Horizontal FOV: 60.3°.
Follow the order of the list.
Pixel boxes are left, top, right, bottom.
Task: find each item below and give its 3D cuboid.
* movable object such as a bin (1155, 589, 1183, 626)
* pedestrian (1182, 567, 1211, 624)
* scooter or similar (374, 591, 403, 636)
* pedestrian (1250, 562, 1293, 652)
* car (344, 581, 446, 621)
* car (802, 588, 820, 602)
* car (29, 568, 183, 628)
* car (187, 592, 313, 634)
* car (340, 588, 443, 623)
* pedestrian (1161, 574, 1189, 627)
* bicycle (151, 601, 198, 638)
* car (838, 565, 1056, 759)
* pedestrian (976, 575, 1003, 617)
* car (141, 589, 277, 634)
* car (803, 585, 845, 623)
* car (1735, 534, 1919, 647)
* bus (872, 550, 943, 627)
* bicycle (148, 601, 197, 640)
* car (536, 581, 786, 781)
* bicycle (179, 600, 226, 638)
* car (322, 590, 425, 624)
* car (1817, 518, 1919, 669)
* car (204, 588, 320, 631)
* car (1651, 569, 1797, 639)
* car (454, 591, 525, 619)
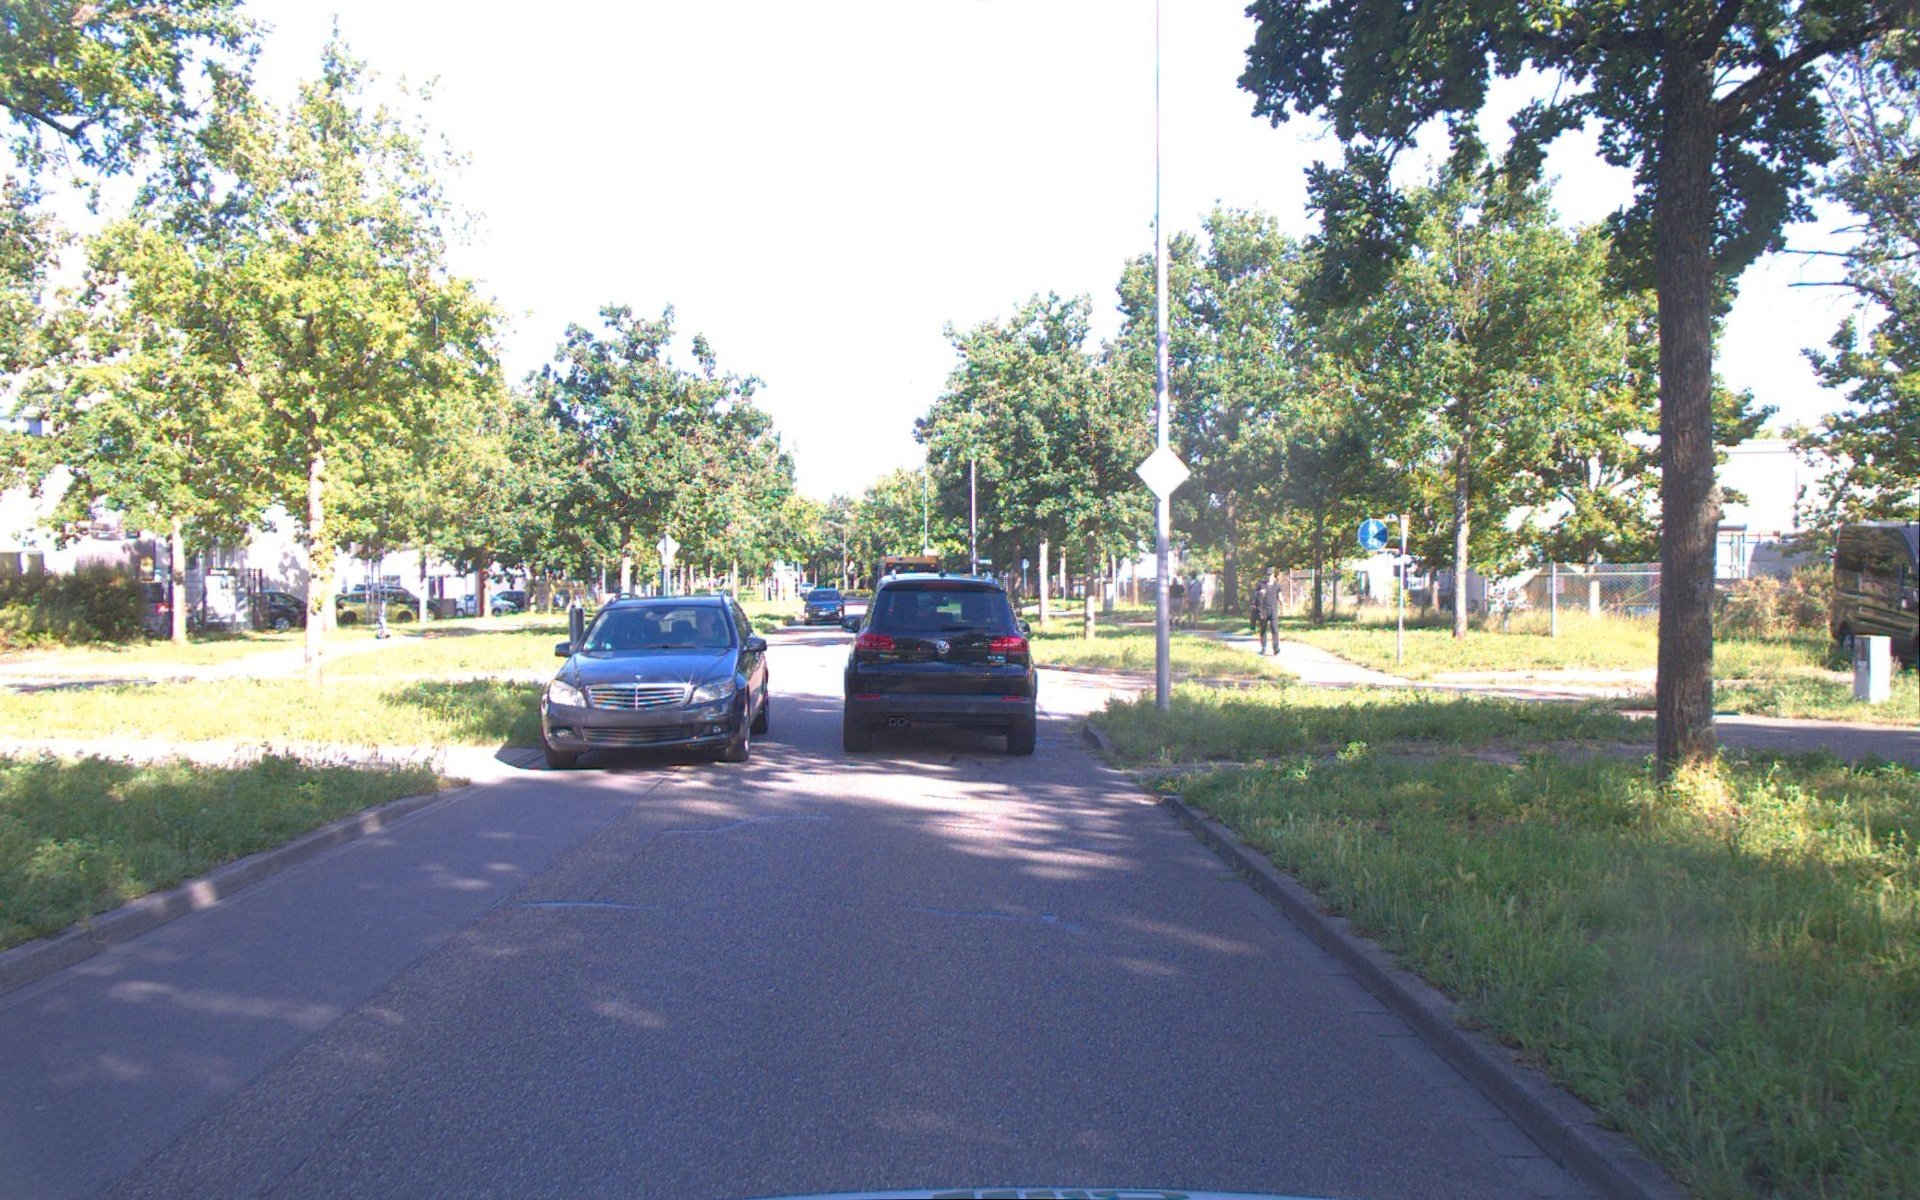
[{"bbox_3d":[6.605,0.233,52.291,0.711,1.100,0.867,-2,0,-3],"label":"movable object such as a bin"},{"bbox_3d":[7.541,-0.151,52.701,0.711,1.785,0.867,-2,0,-3],"label":"pedestrian"},{"bbox_3d":[-16.881,0.376,48.876,0.387,1.301,1.440,-1,0,-2],"label":"scooter or similar"},{"bbox_3d":[6.576,0.145,34.906,0.711,1.843,0.867,-1,3,-3],"label":"pedestrian"},{"bbox_3d":[-30.135,0.018,88.297,4.823,2.049,1.967,-1,1,-45],"label":"car"},{"bbox_3d":[-16.786,-0.534,186.479,1.709,1.490,4.425,-1,1,-3],"label":"car"},{"bbox_3d":[-27.415,-0.087,53.157,3.931,1.814,2.027,1,1,8],"label":"car"},{"bbox_3d":[-26.419,0.468,61.604,1.771,1.474,3.972,0,1,44],"label":"car"},{"bbox_3d":[-26.464,0.228,77.040,4.139,1.565,1.865,-1,1,-45],"label":"car"},{"bbox_3d":[6.683,0.000,51.443,0.711,1.631,0.867,-1,0,-3],"label":"pedestrian"},{"bbox_3d":[-24.211,0.590,50.992,0.626,1.106,1.890,-1,1,-3],"label":"bicycle"},{"bbox_3d":[-0.215,0.514,16.772,1.897,1.685,4.425,1,1,-3],"label":"car"},{"bbox_3d":[1.198,-0.155,67.683,0.999,1.680,1.099,-1,0,-3],"label":"pedestrian"},{"bbox_3d":[-26.286,0.391,57.964,1.767,1.474,3.980,0,1,39],"label":"car"},{"bbox_3d":[-6.072,0.155,74.250,1.769,1.563,4.492,-2,1,-4],"label":"car"},{"bbox_3d":[21.971,-0.261,42.037,2.117,2.689,4.849,-1,1,-2],"label":"car"},{"bbox_3d":[-2.704,-0.612,81.798,2.711,3.517,11.197,-1,1,-6],"label":"bus"},{"bbox_3d":[-23.464,0.596,49.316,0.626,1.106,1.890,-1,1,-3],"label":"bicycle"},{"bbox_3d":[-2.690,0.640,15.858,1.730,1.555,4.493,-2,1,-3],"label":"car"},{"bbox_3d":[-23.223,0.581,50.736,0.626,1.106,1.890,-1,1,-3],"label":"bicycle"},{"bbox_3d":[-26.165,0.297,73.847,3.924,1.426,1.967,-1,1,-45],"label":"car"},{"bbox_3d":[18.211,-0.193,30.929,2.040,2.610,5.979,1,3,9],"label":"car"},{"bbox_3d":[-27.169,0.350,64.403,3.948,1.537,1.782,-1,2,-32],"label":"car"},{"bbox_3d":[19.421,0.082,42.193,1.965,1.693,3.595,-1,1,-2],"label":"car"},{"bbox_3d":[-28.326,0.279,99.622,3.662,1.646,1.965,0,0,12],"label":"car"}]
